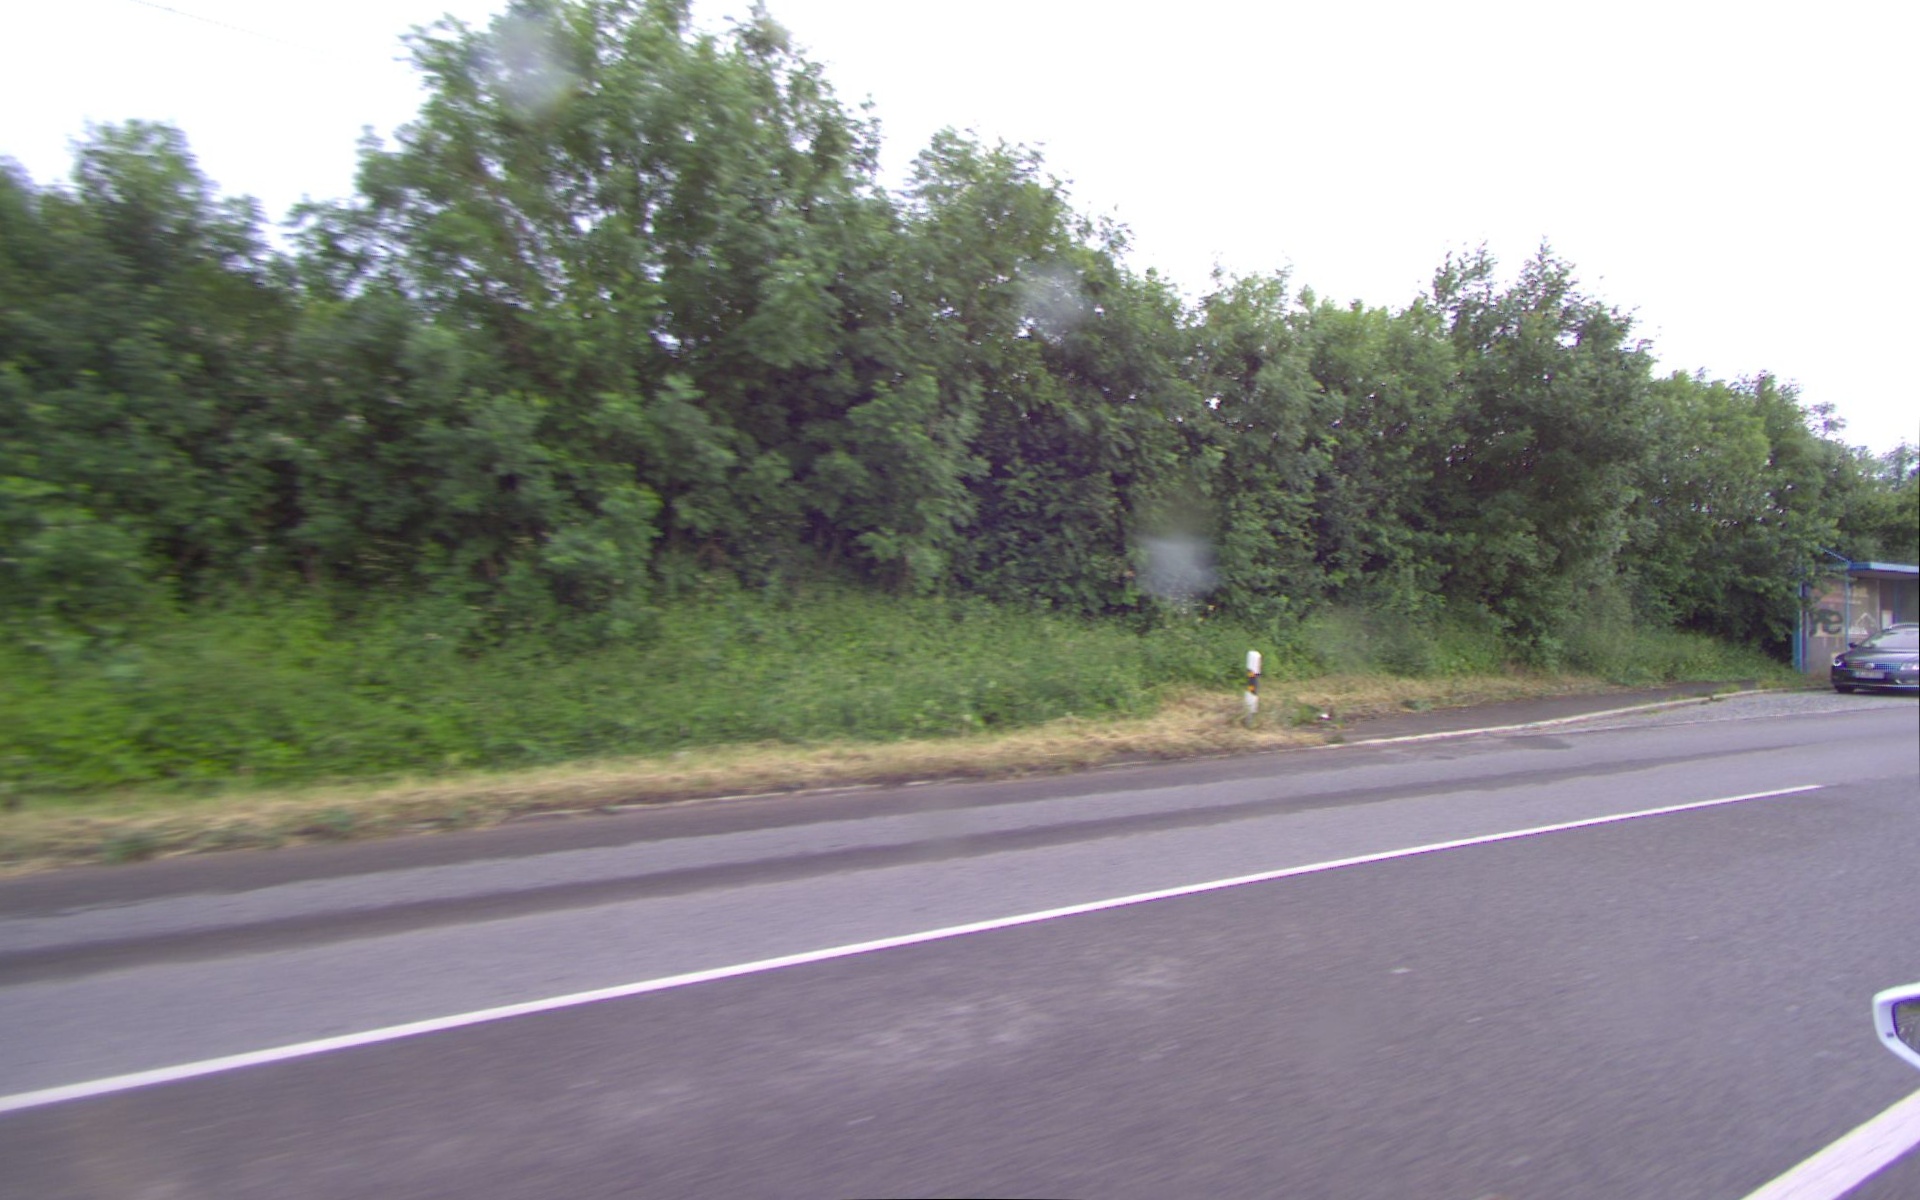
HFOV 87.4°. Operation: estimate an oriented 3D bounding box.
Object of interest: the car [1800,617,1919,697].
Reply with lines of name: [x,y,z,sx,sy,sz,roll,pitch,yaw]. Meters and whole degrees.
car: [20.491,1.236,21.641,4.640,1.493,1.986,3,0,-27]
